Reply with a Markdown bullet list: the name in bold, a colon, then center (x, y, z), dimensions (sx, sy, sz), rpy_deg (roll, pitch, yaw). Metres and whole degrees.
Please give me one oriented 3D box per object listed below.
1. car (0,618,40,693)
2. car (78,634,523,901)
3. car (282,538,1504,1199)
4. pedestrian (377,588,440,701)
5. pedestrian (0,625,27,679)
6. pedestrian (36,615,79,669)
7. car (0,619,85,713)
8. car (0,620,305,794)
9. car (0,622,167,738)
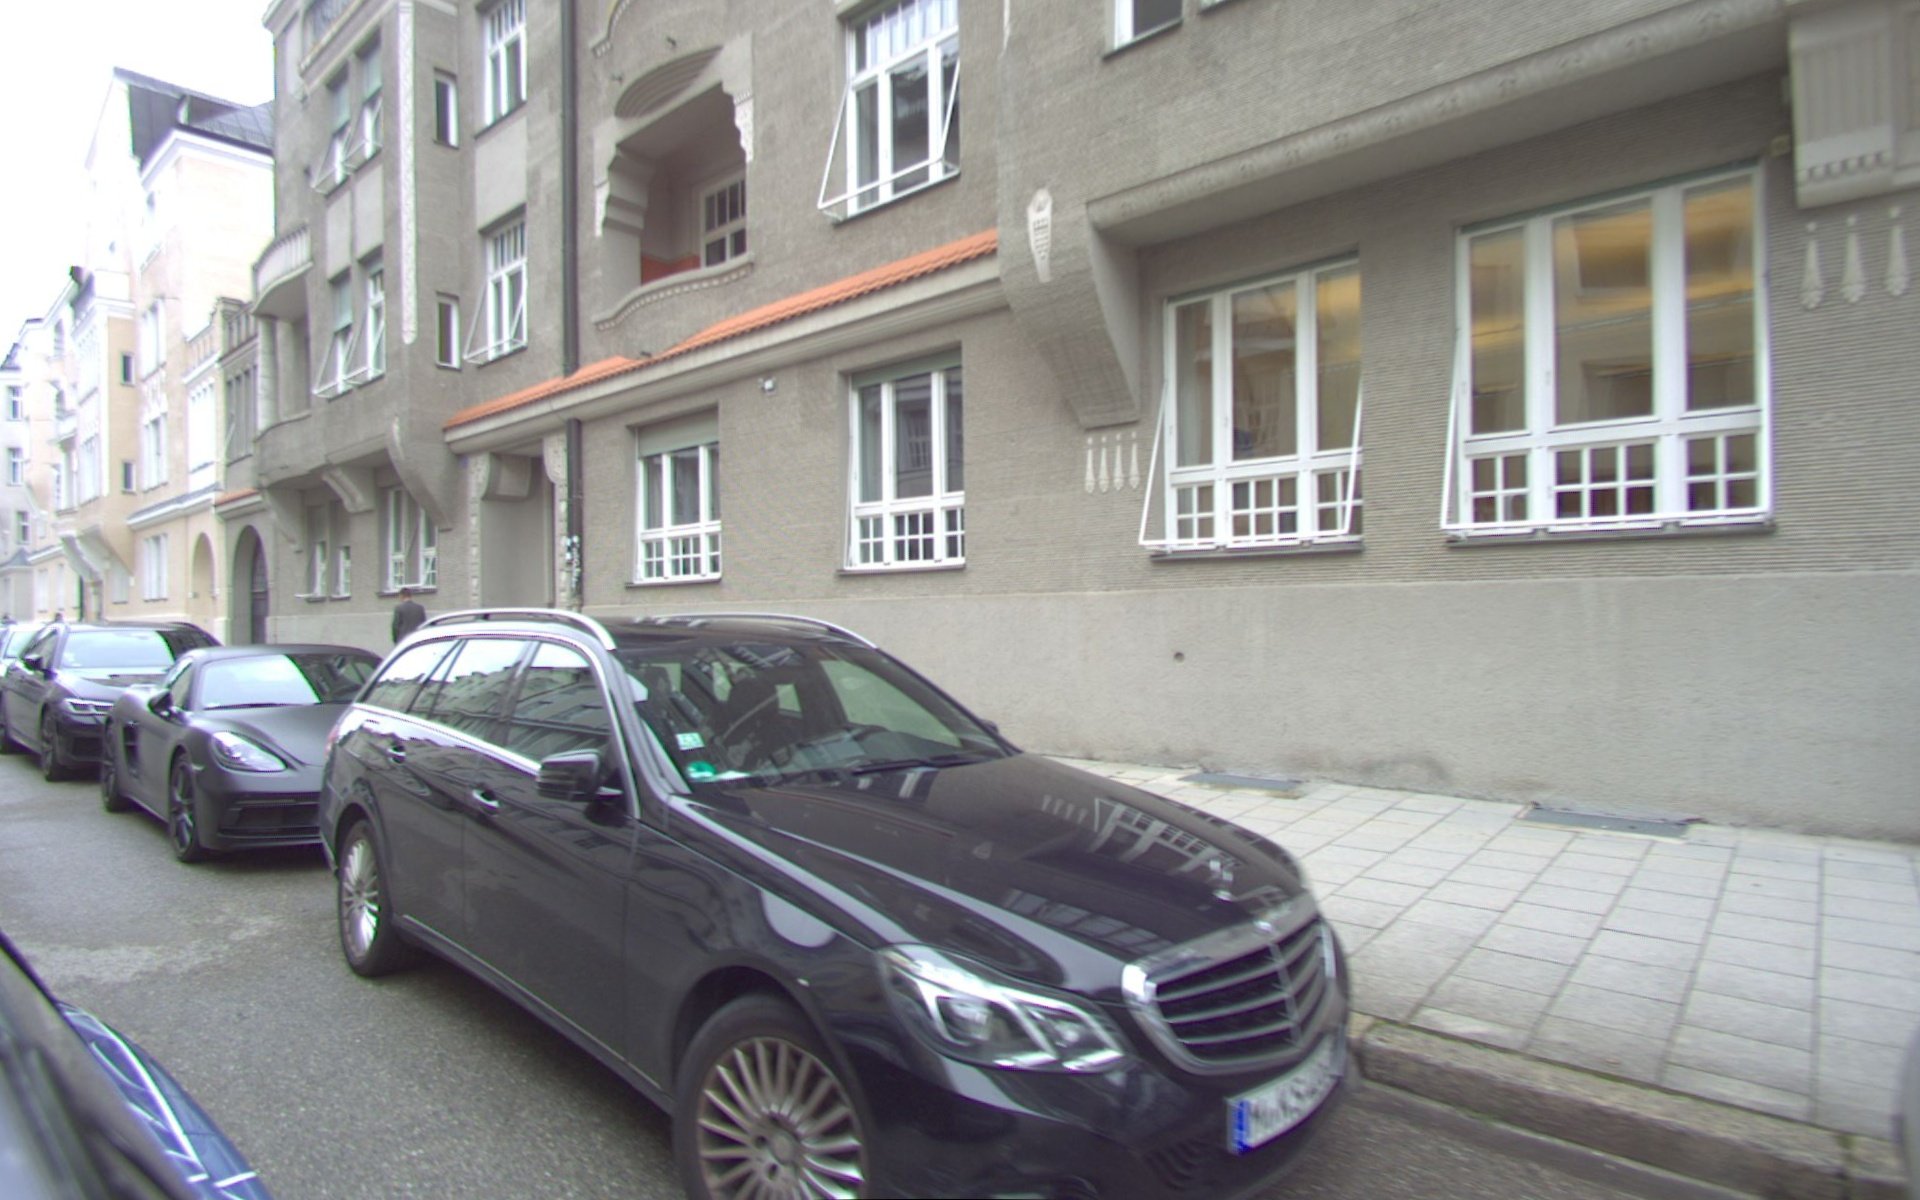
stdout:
- **car**: center (-22.259, 1.238, 22.817), dimensions (3.811, 1.584, 1.784), rpy_deg (-1, -1, 41)
- **car**: center (-4.923, 0.936, 7.302), dimensions (4.096, 1.341, 1.736), rpy_deg (-2, -1, 43)
- **car**: center (-0.849, 0.724, 3.704), dimensions (4.708, 1.526, 1.736), rpy_deg (-2, -1, 44)
- **pedestrian**: center (-9.272, 0.729, 17.016), dimensions (0.730, 1.831, 0.709), rpy_deg (-2, -1, 41)
- **pedestrian**: center (-32.523, 1.766, 34.604), dimensions (0.740, 1.803, 0.826), rpy_deg (-2, -1, 41)
- **pedestrian**: center (-30.368, 1.396, 34.055), dimensions (0.939, 1.742, 0.982), rpy_deg (-2, -1, 41)
- **car**: center (-17.376, 1.129, 18.117), dimensions (4.603, 1.525, 1.819), rpy_deg (-2, -2, 39)
- **car**: center (-8.995, 0.967, 10.907), dimensions (4.775, 1.459, 1.973), rpy_deg (-1, -1, 40)
- **car**: center (-13.048, 1.066, 14.660), dimensions (4.439, 1.442, 1.786), rpy_deg (-2, -3, 43)
